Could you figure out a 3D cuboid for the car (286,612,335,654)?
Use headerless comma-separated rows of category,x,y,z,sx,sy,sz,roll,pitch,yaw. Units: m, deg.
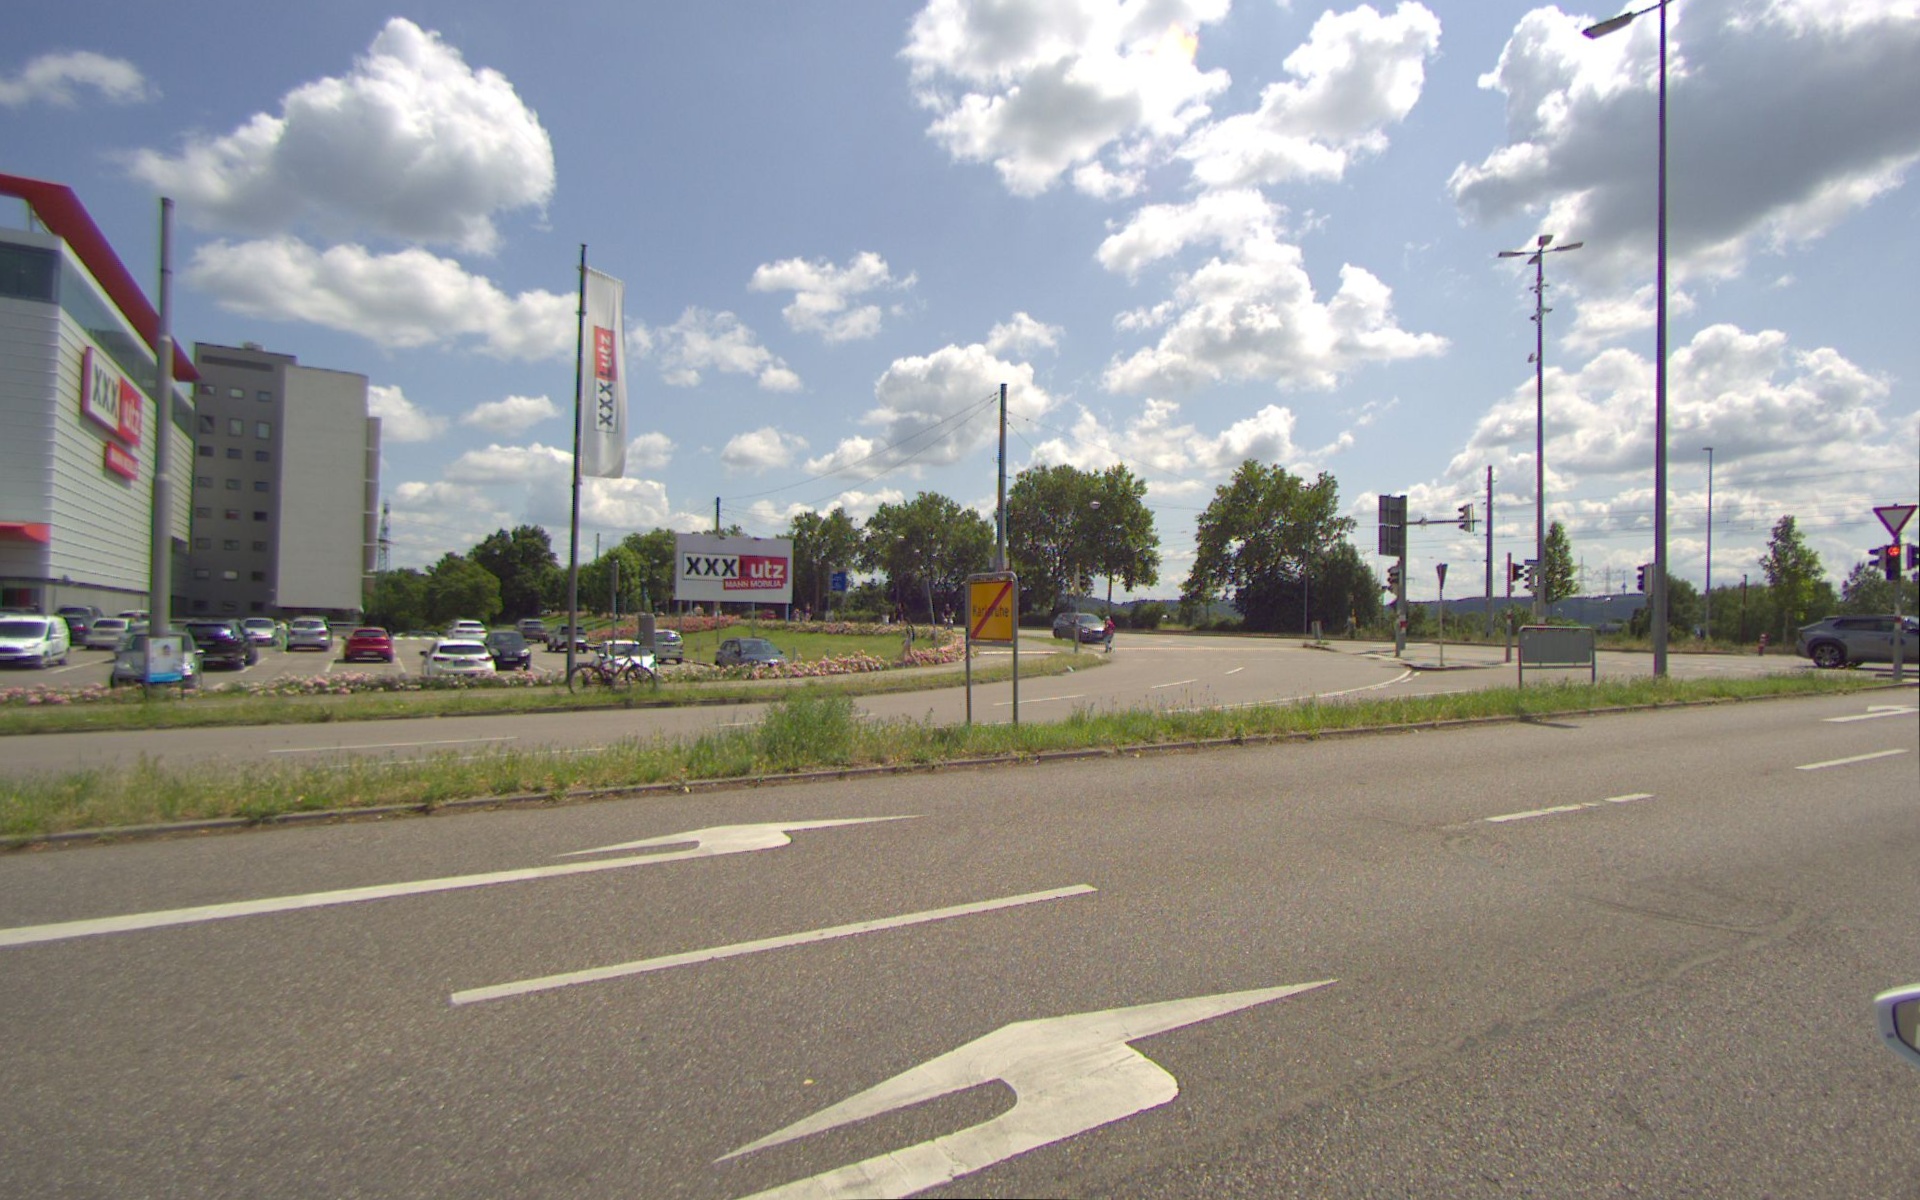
car,-32.686,1.652,50.636,1.978,2.015,4.586,2,-2,-32

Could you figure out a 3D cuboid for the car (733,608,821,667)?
car,-6.857,1.380,37.295,1.977,2.040,3.968,1,-2,-30

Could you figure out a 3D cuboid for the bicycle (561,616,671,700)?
bicycle,-7.242,1.197,21.148,2.025,1.697,1.012,1,-2,-31

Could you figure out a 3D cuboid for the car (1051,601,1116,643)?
car,6.169,1.137,50.607,1.966,2.040,3.989,0,-2,-15

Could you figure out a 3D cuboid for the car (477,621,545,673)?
car,-18.481,1.891,41.256,1.978,2.015,4.326,1,-2,-31

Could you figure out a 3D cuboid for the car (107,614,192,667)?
car,-31.484,1.560,39.140,1.978,1.906,4.326,1,-2,-31

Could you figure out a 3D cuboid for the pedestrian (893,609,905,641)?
pedestrian,-3.529,1.439,58.177,0.588,1.834,0.532,1,-2,-21

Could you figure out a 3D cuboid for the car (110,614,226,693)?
car,-21.865,1.442,27.905,1.978,2.015,4.326,1,-2,-31

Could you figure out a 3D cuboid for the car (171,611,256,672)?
car,-26.764,1.451,36.153,1.978,2.015,4.558,2,-1,-31

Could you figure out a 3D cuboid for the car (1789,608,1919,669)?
car,27.313,1.102,29.305,1.882,1.697,4.483,1,-1,-30

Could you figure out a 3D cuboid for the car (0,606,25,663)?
car,-35.597,1.233,36.128,1.978,2.015,4.326,1,-2,-31

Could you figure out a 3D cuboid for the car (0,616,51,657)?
car,-45.345,1.721,48.025,1.978,1.906,4.326,1,-2,-31

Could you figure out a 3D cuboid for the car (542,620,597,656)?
car,-22.413,2.172,57.591,2.224,2.015,4.326,1,-2,-31

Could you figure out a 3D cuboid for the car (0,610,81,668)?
car,-31.689,1.311,34.142,1.978,1.863,4.326,1,-2,-31

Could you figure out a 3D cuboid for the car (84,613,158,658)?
car,-38.620,1.630,46.310,1.978,2.015,4.052,1,-2,-31

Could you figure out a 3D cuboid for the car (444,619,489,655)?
car,-28.998,2.140,58.962,1.978,2.015,4.326,1,-2,-31

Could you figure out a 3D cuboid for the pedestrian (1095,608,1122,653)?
pedestrian,6.314,1.300,42.643,0.784,1.862,0.865,2,0,30

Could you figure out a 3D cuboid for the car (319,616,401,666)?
car,-25.868,1.736,43.200,1.986,2.015,5.242,2,-2,-43

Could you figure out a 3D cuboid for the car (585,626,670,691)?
car,-11.301,1.923,34.018,1.976,2.040,3.969,1,-2,-30

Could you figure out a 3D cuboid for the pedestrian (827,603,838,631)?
pedestrian,-9.343,1.217,73.460,0.761,2.040,0.566,0,-2,-11

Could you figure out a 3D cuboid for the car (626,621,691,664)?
car,-14.836,2.078,49.286,1.978,2.015,4.326,1,-2,-31

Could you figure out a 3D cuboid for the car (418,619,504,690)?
car,-15.433,1.618,30.970,1.978,2.015,4.326,1,-2,-31
